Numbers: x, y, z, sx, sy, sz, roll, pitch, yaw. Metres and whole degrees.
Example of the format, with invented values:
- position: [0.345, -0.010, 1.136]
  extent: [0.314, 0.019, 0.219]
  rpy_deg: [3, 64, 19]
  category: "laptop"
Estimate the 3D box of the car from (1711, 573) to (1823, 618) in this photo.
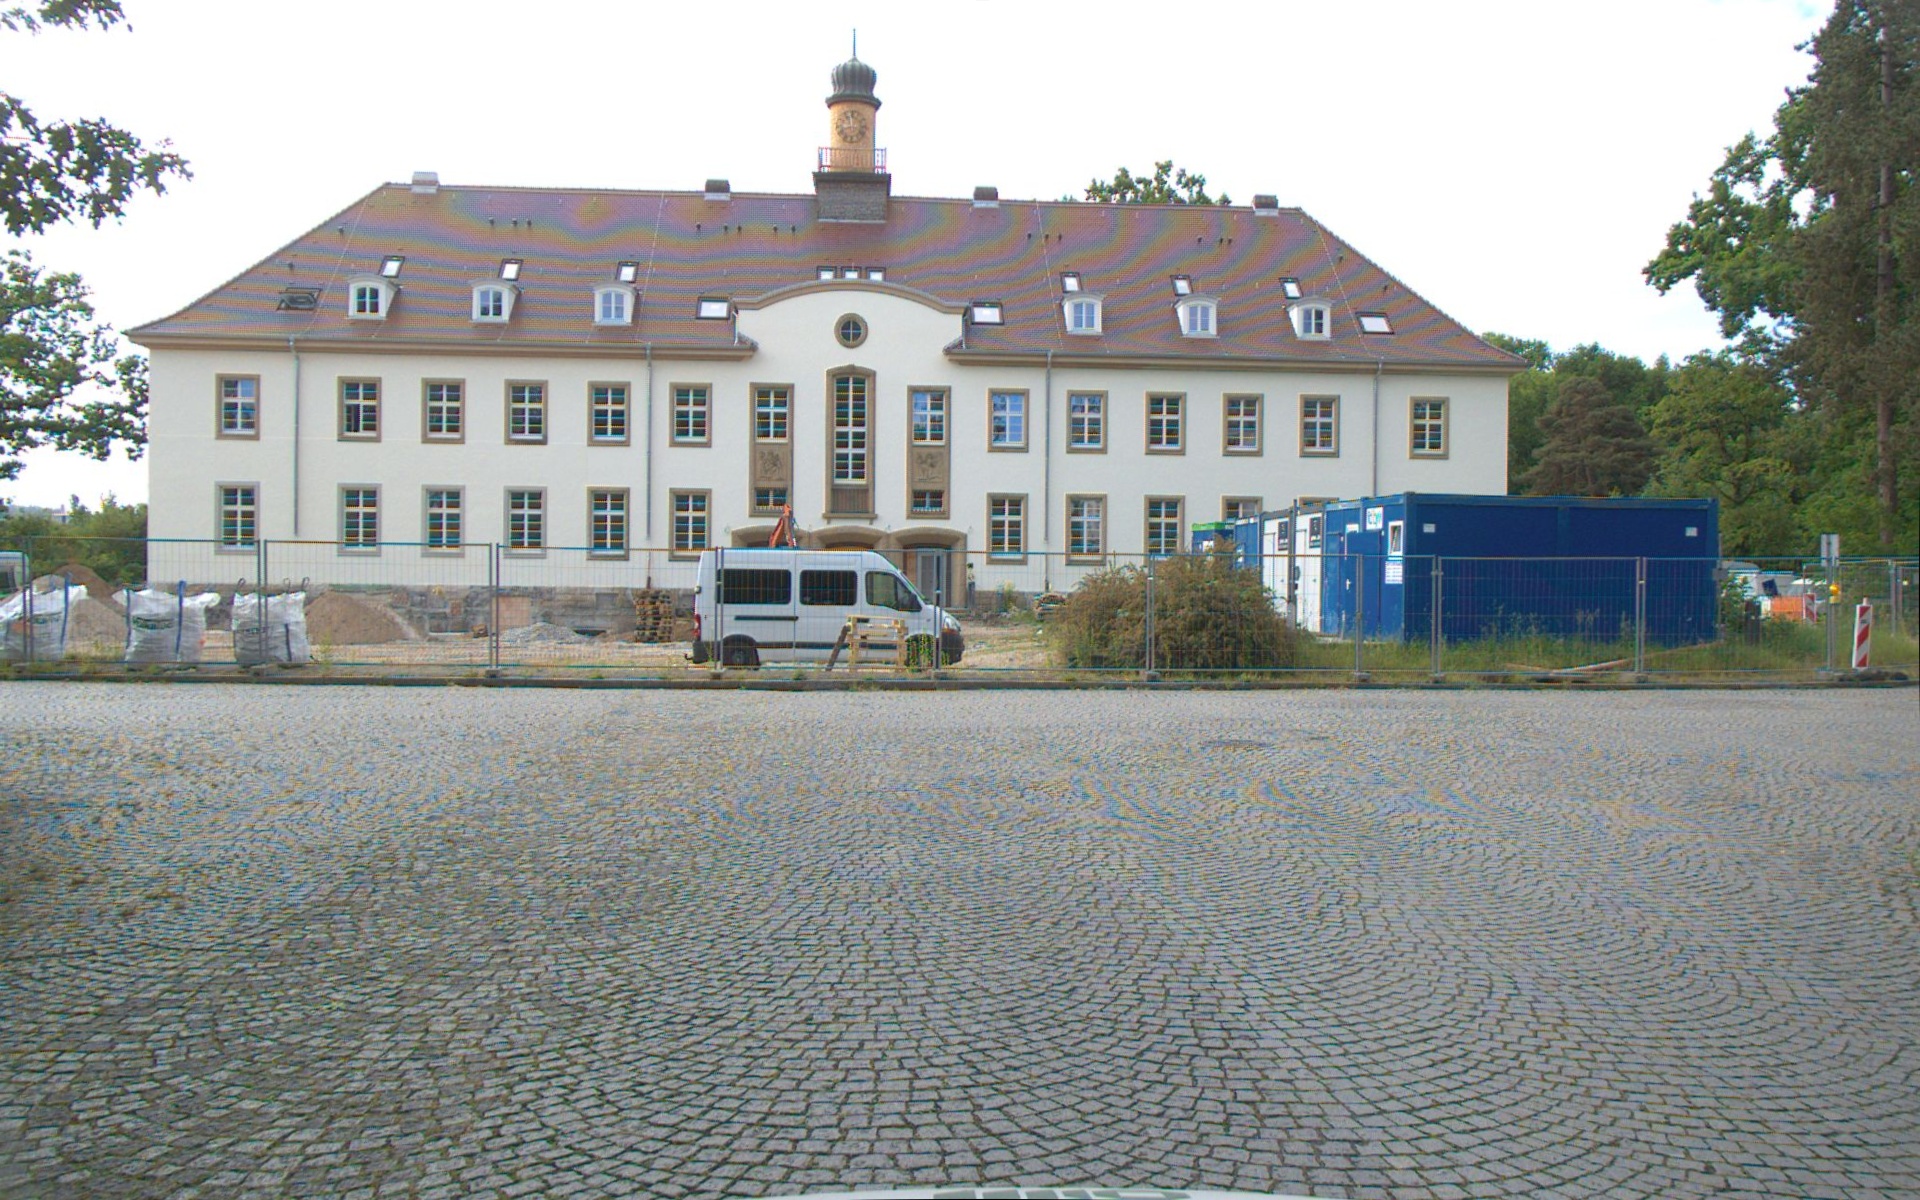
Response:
- position: [28.740, -0.170, 58.887]
  extent: [4.396, 1.528, 1.742]
  rpy_deg: [0, 1, -36]
  category: "car"

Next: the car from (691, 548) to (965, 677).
- position: [-2.540, 0.242, 32.353]
  extent: [5.158, 2.385, 1.909]
  rpy_deg: [1, 0, -3]
  category: "car"

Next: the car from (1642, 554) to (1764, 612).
- position: [27.689, -0.619, 61.595]
  extent: [5.360, 2.078, 1.742]
  rpy_deg: [0, 1, -36]
  category: "car"

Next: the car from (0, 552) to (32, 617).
- position: [-33.702, -0.537, 56.423]
  extent: [2.030, 2.188, 4.887]
  rpy_deg: [0, 0, -10]
  category: "car"

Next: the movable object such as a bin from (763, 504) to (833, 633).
- position: [-5.160, -0.951, 52.084]
  extent: [1.956, 3.837, 5.308]
  rpy_deg: [1, 0, -8]
  category: "movable object such as a bin"

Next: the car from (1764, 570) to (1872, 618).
- position: [28.649, -0.206, 55.219]
  extent: [3.943, 1.513, 1.601]
  rpy_deg: [0, 2, -36]
  category: "car"
